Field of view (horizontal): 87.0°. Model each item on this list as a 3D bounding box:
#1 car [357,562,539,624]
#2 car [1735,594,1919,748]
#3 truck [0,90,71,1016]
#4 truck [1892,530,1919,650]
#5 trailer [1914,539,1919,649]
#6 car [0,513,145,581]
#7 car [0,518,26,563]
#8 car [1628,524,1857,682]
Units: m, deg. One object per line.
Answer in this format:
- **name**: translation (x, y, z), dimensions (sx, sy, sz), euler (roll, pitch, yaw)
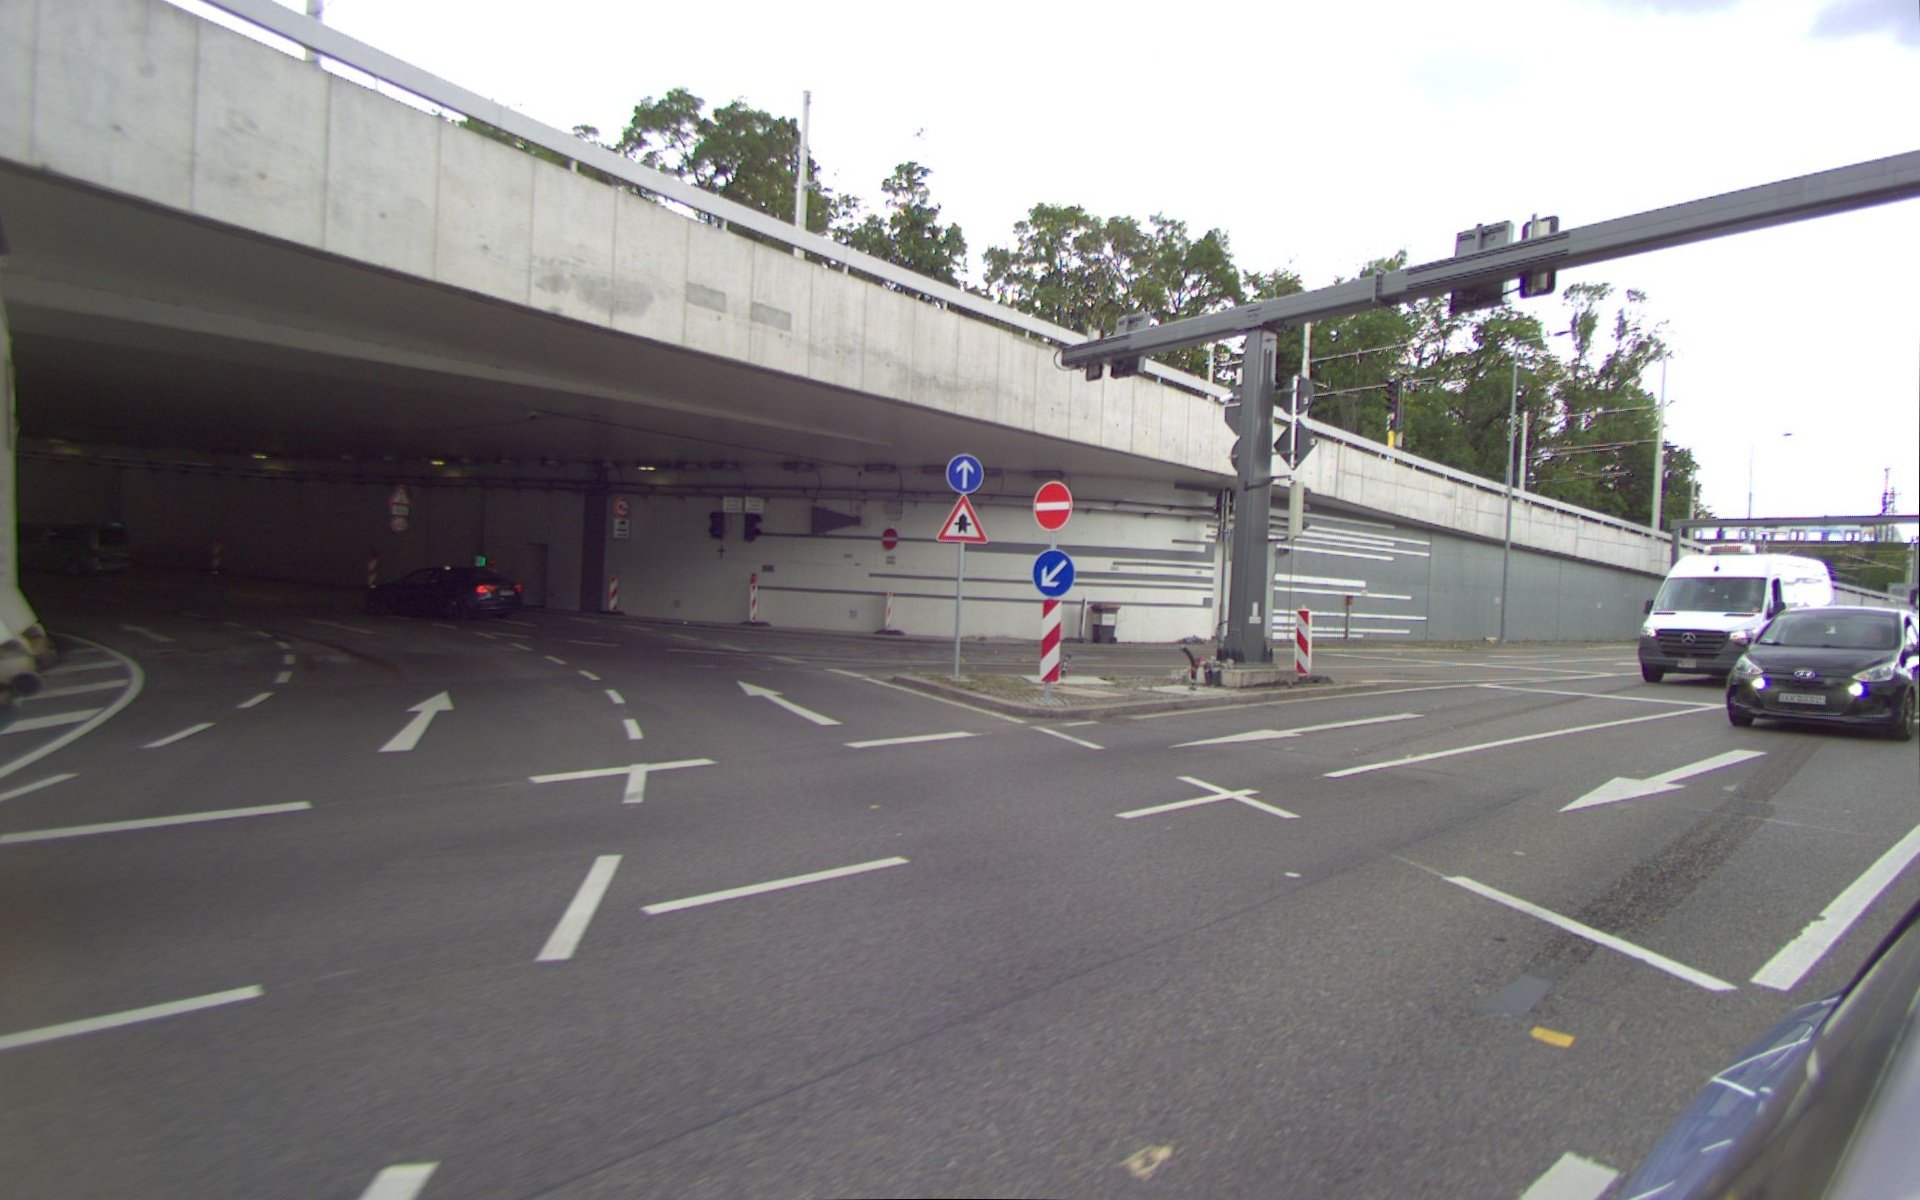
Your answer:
- **car**: translation (-14.248, -0.236, 28.218), dimensions (4.407, 1.418, 1.990), euler (3, 3, 17)
- **car**: translation (11.043, 0.743, 12.481), dimensions (3.629, 1.564, 1.685), euler (0, 2, -42)
- **truck**: translation (-6.867, -0.239, 2.205), dimensions (7.295, 3.225, 2.654), euler (1, 1, -41)
- **truck**: translation (41.043, -0.287, 40.951), dimensions (7.305, 4.691, 3.814), euler (2, -2, -38)
- **trailer**: translation (46.388, -0.098, 45.231), dimensions (11.891, 4.691, 3.814), euler (2, -2, -39)
- **car**: translation (-31.182, -1.858, 35.003), dimensions (4.275, 1.856, 2.003), euler (5, 4, -3)
- **car**: translation (-38.198, -2.417, 38.393), dimensions (4.293, 1.677, 1.844), euler (5, 1, 11)
- **car**: translation (16.435, 0.153, 21.032), dimensions (7.191, 2.808, 2.080), euler (2, -1, -38)
